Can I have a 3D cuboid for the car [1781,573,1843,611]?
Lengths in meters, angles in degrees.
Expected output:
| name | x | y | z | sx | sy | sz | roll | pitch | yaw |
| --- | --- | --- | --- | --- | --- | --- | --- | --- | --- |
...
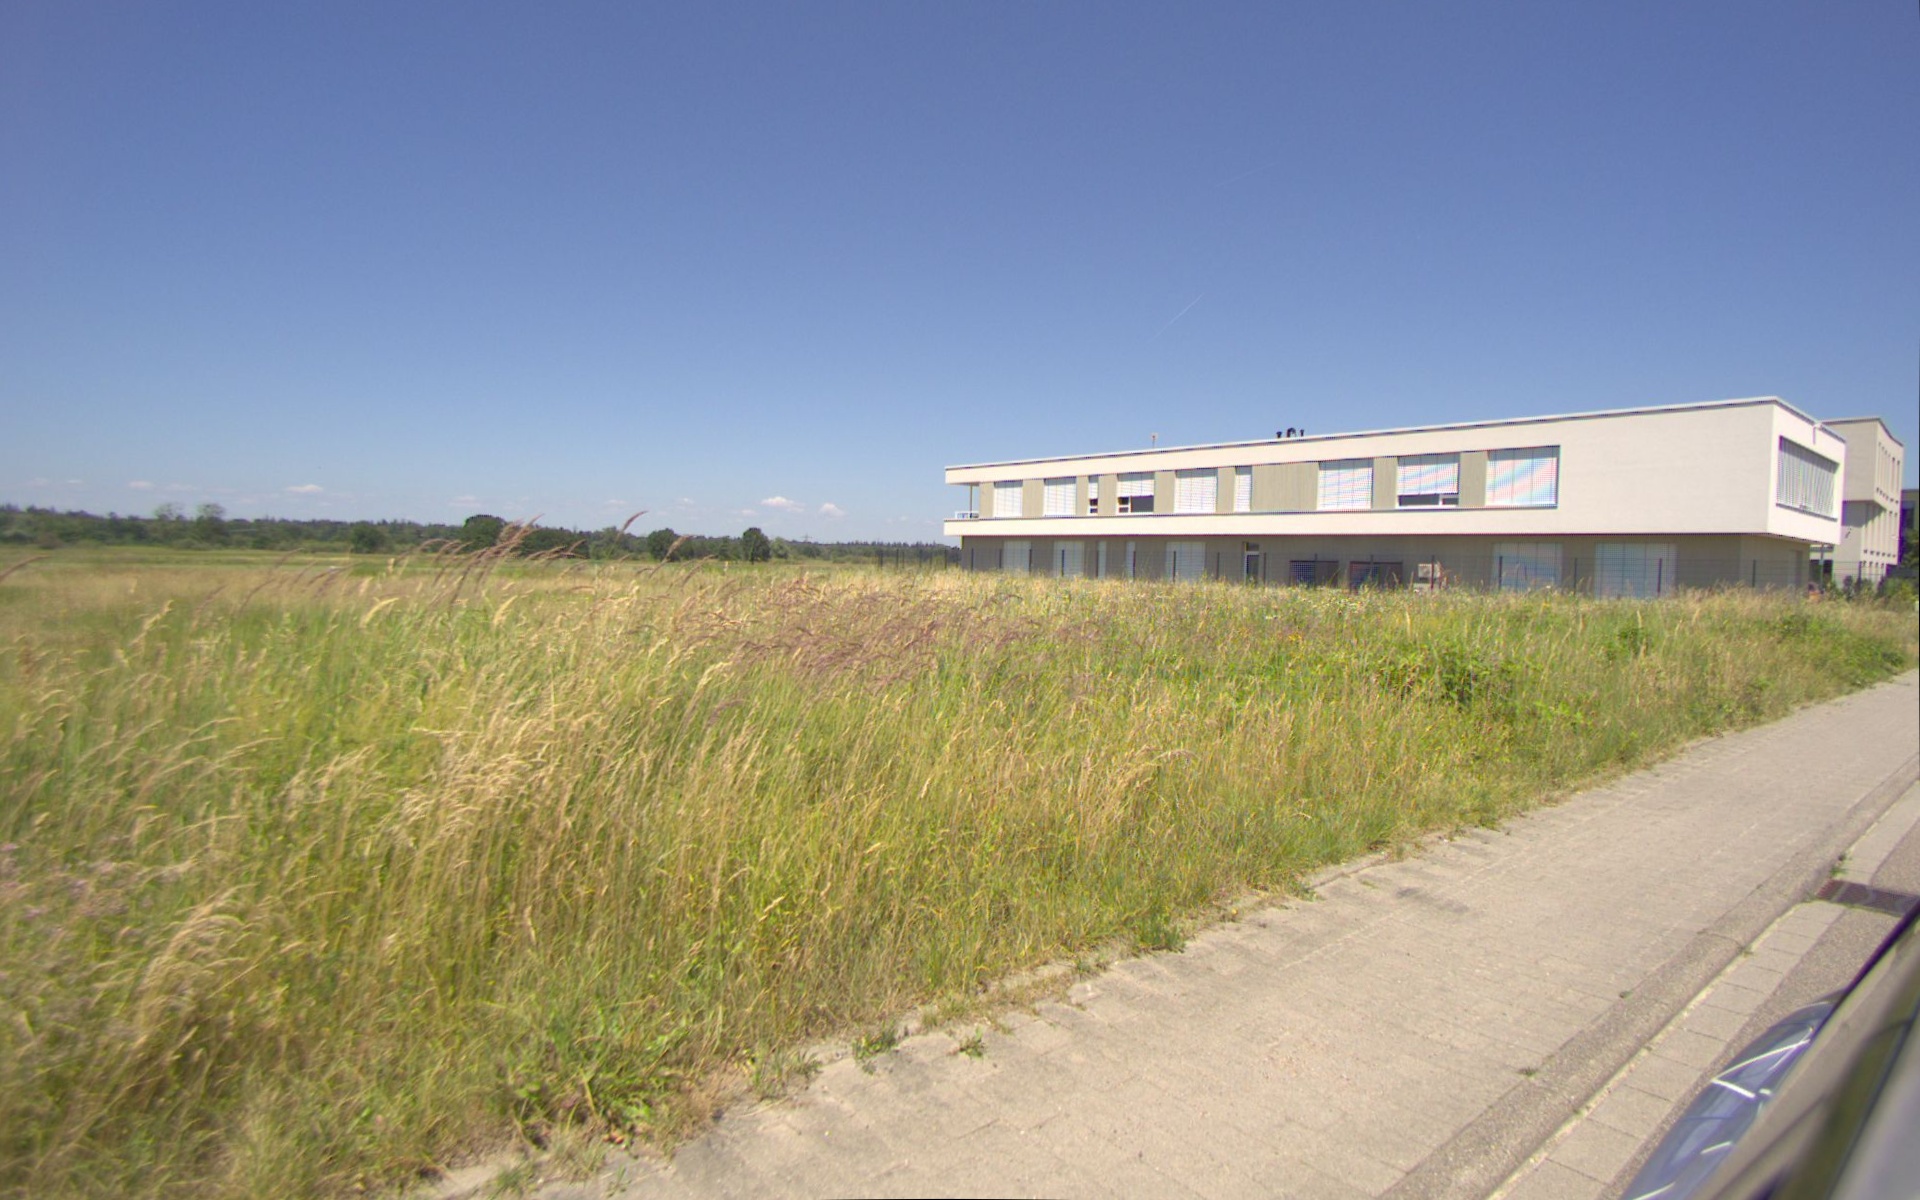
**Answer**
| name | x | y | z | sx | sy | sz | roll | pitch | yaw |
| --- | --- | --- | --- | --- | --- | --- | --- | --- | --- |
| car | 38.130 | -0.324 | 45.266 | 4.010 | 1.577 | 1.670 | 1 | 1 | -44 |
